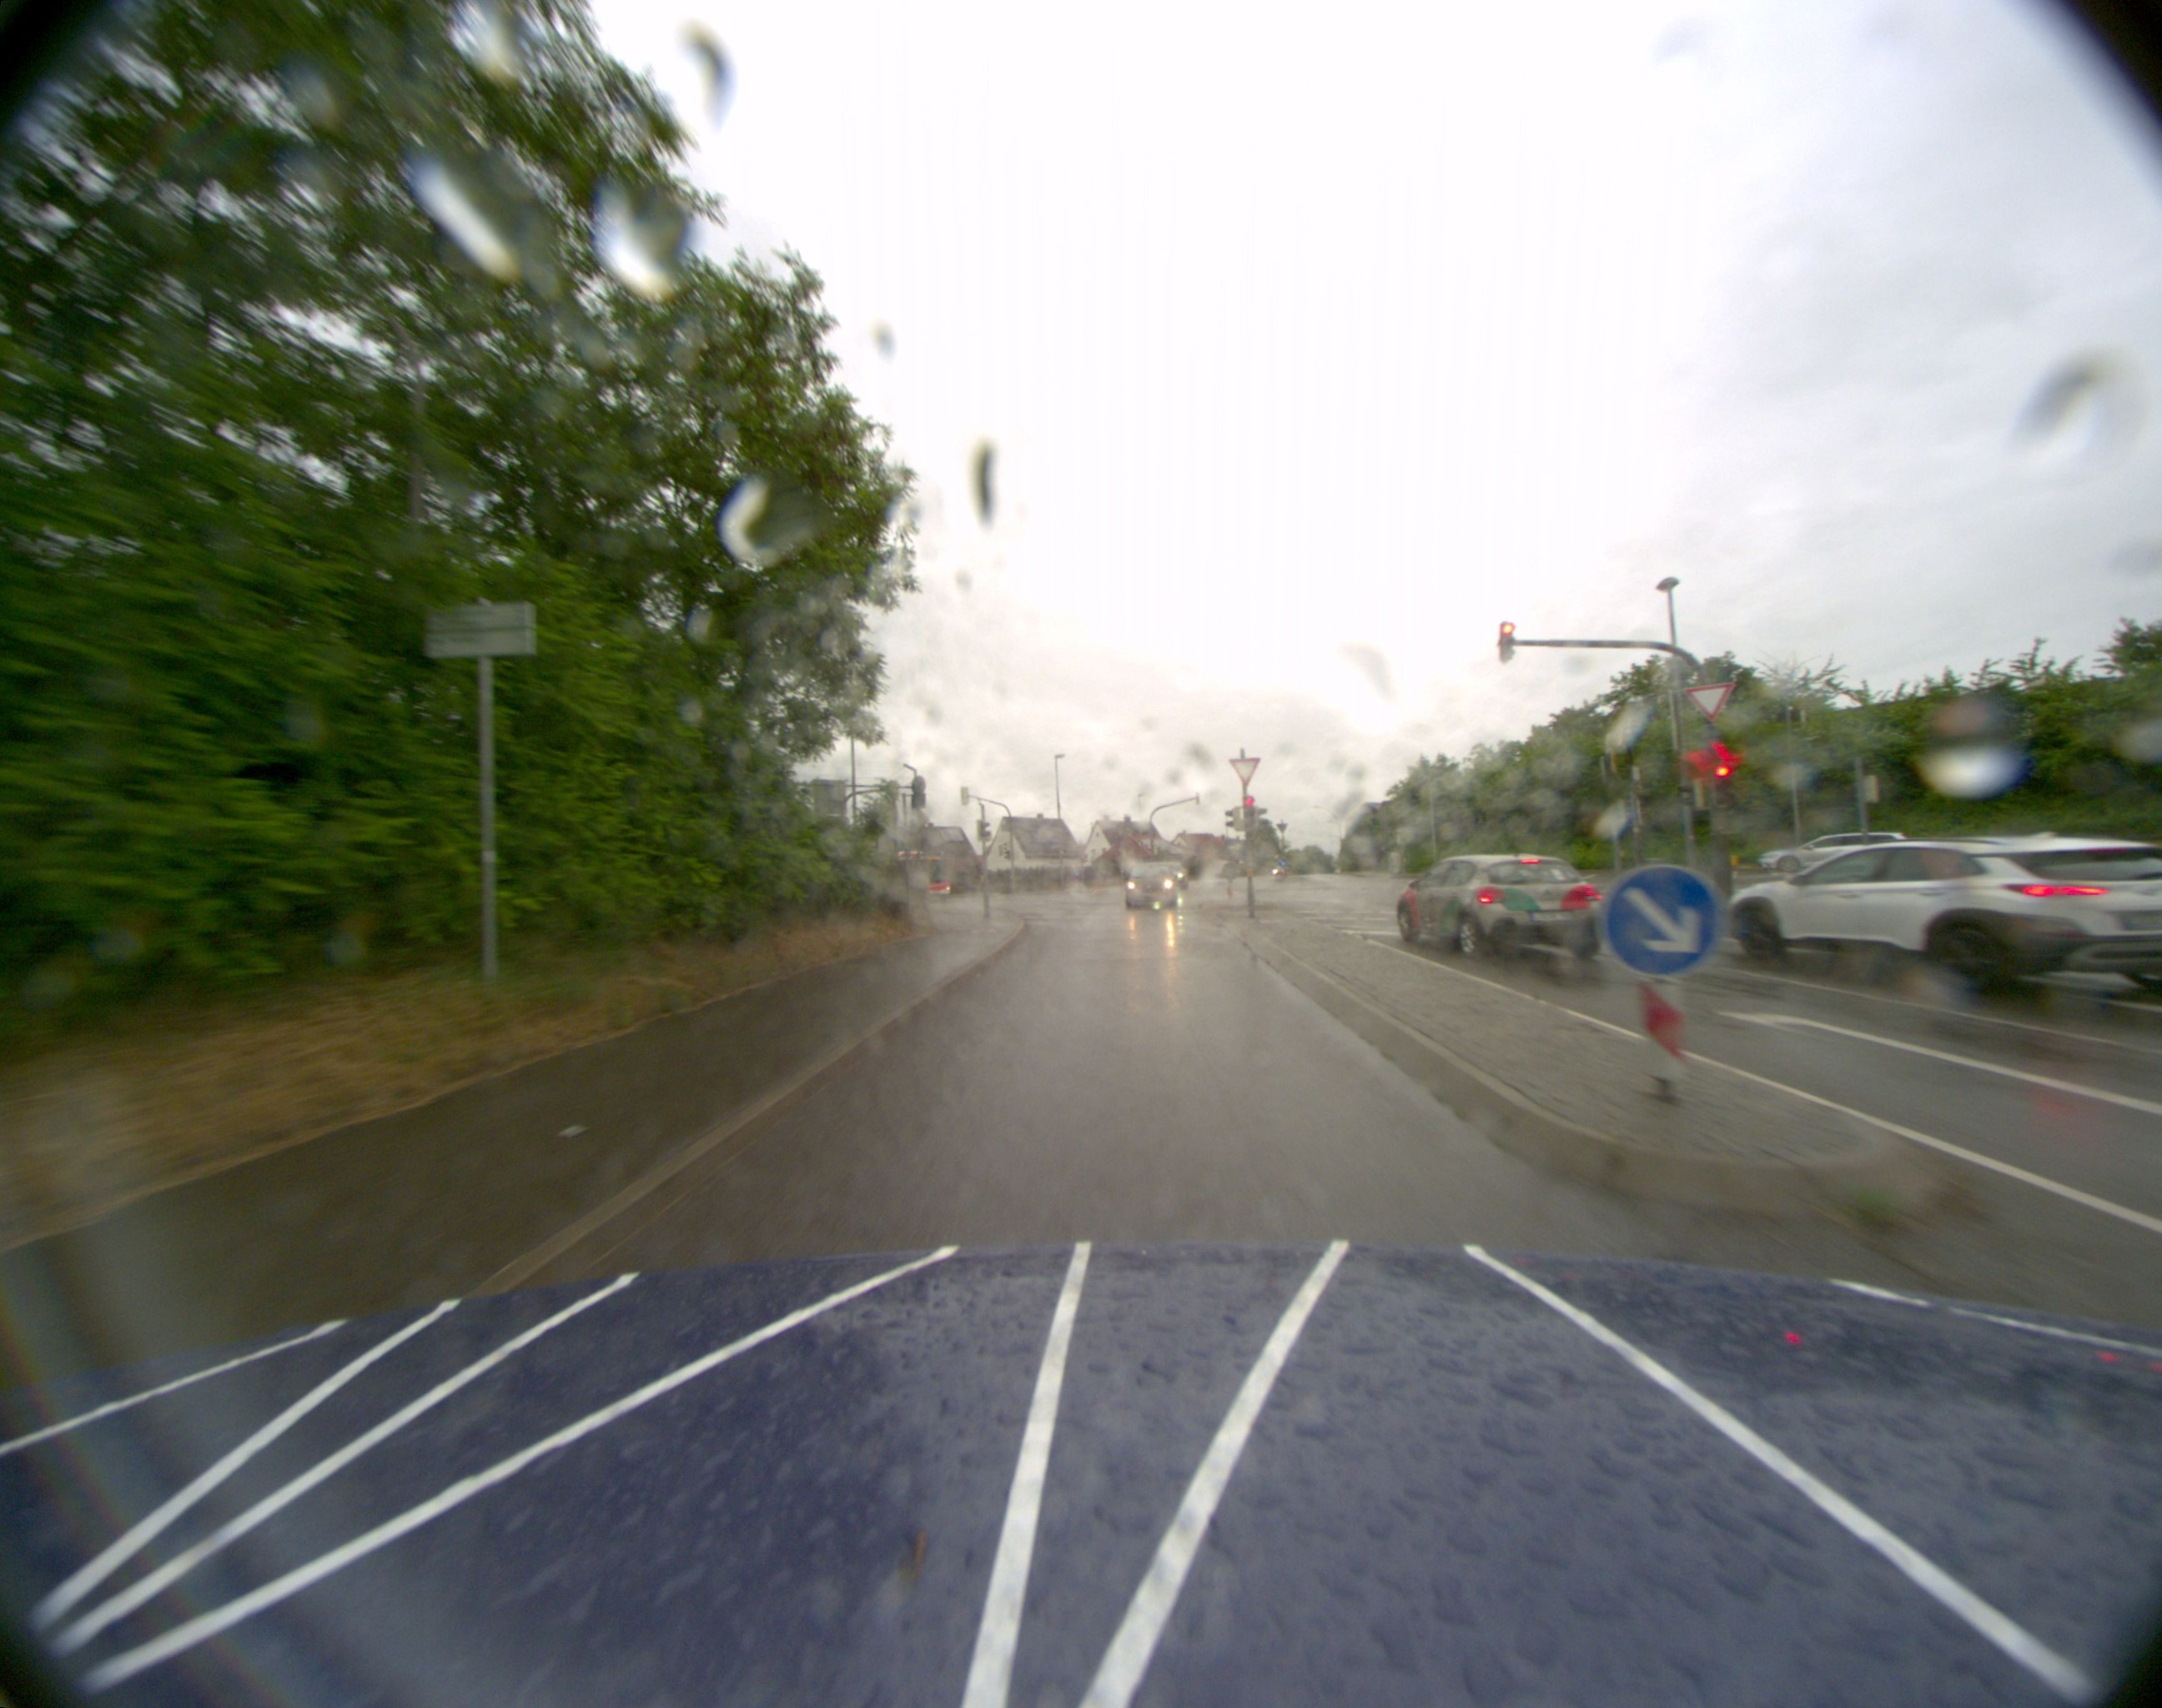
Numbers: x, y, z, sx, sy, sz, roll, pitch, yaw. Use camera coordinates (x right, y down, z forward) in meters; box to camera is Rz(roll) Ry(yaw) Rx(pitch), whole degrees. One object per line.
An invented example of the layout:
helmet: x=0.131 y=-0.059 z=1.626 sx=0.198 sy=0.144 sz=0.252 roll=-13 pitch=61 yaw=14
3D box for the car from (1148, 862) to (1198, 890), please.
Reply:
car: x=5.230 y=1.221 z=42.740 sx=1.896 sy=1.473 sz=4.006 roll=-3 pitch=-2 yaw=19

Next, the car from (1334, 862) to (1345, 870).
car: x=48.471 y=2.248 z=142.415 sx=1.622 sy=1.496 sz=3.827 roll=-1 pitch=-1 yaw=16

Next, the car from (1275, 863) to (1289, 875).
car: x=28.336 y=2.035 z=106.856 sx=1.755 sy=1.547 sz=3.924 roll=-3 pitch=-1 yaw=16

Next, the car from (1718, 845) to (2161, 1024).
car: x=9.621 y=0.698 z=8.545 sx=1.724 sy=1.486 sz=4.001 roll=-3 pitch=0 yaw=5

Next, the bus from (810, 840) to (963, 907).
bus: x=-13.142 y=1.400 z=50.349 sx=12.262 sy=3.554 sz=2.992 roll=-6 pitch=-2 yaw=40

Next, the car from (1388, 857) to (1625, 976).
car: x=6.250 y=0.818 z=11.736 sx=1.665 sy=1.486 sz=4.001 roll=-1 pitch=0 yaw=5

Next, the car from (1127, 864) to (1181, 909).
car: x=2.648 y=1.118 z=26.872 sx=1.665 sy=1.409 sz=3.936 roll=-3 pitch=-1 yaw=8

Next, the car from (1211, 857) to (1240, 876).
car: x=19.325 y=1.621 z=101.653 sx=4.008 sy=2.336 sz=1.650 roll=-2 pitch=-1 yaw=-42

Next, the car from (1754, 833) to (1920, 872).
car: x=30.116 y=-0.032 z=30.498 sx=4.520 sy=1.354 sz=1.766 roll=-3 pitch=-1 yaw=39
